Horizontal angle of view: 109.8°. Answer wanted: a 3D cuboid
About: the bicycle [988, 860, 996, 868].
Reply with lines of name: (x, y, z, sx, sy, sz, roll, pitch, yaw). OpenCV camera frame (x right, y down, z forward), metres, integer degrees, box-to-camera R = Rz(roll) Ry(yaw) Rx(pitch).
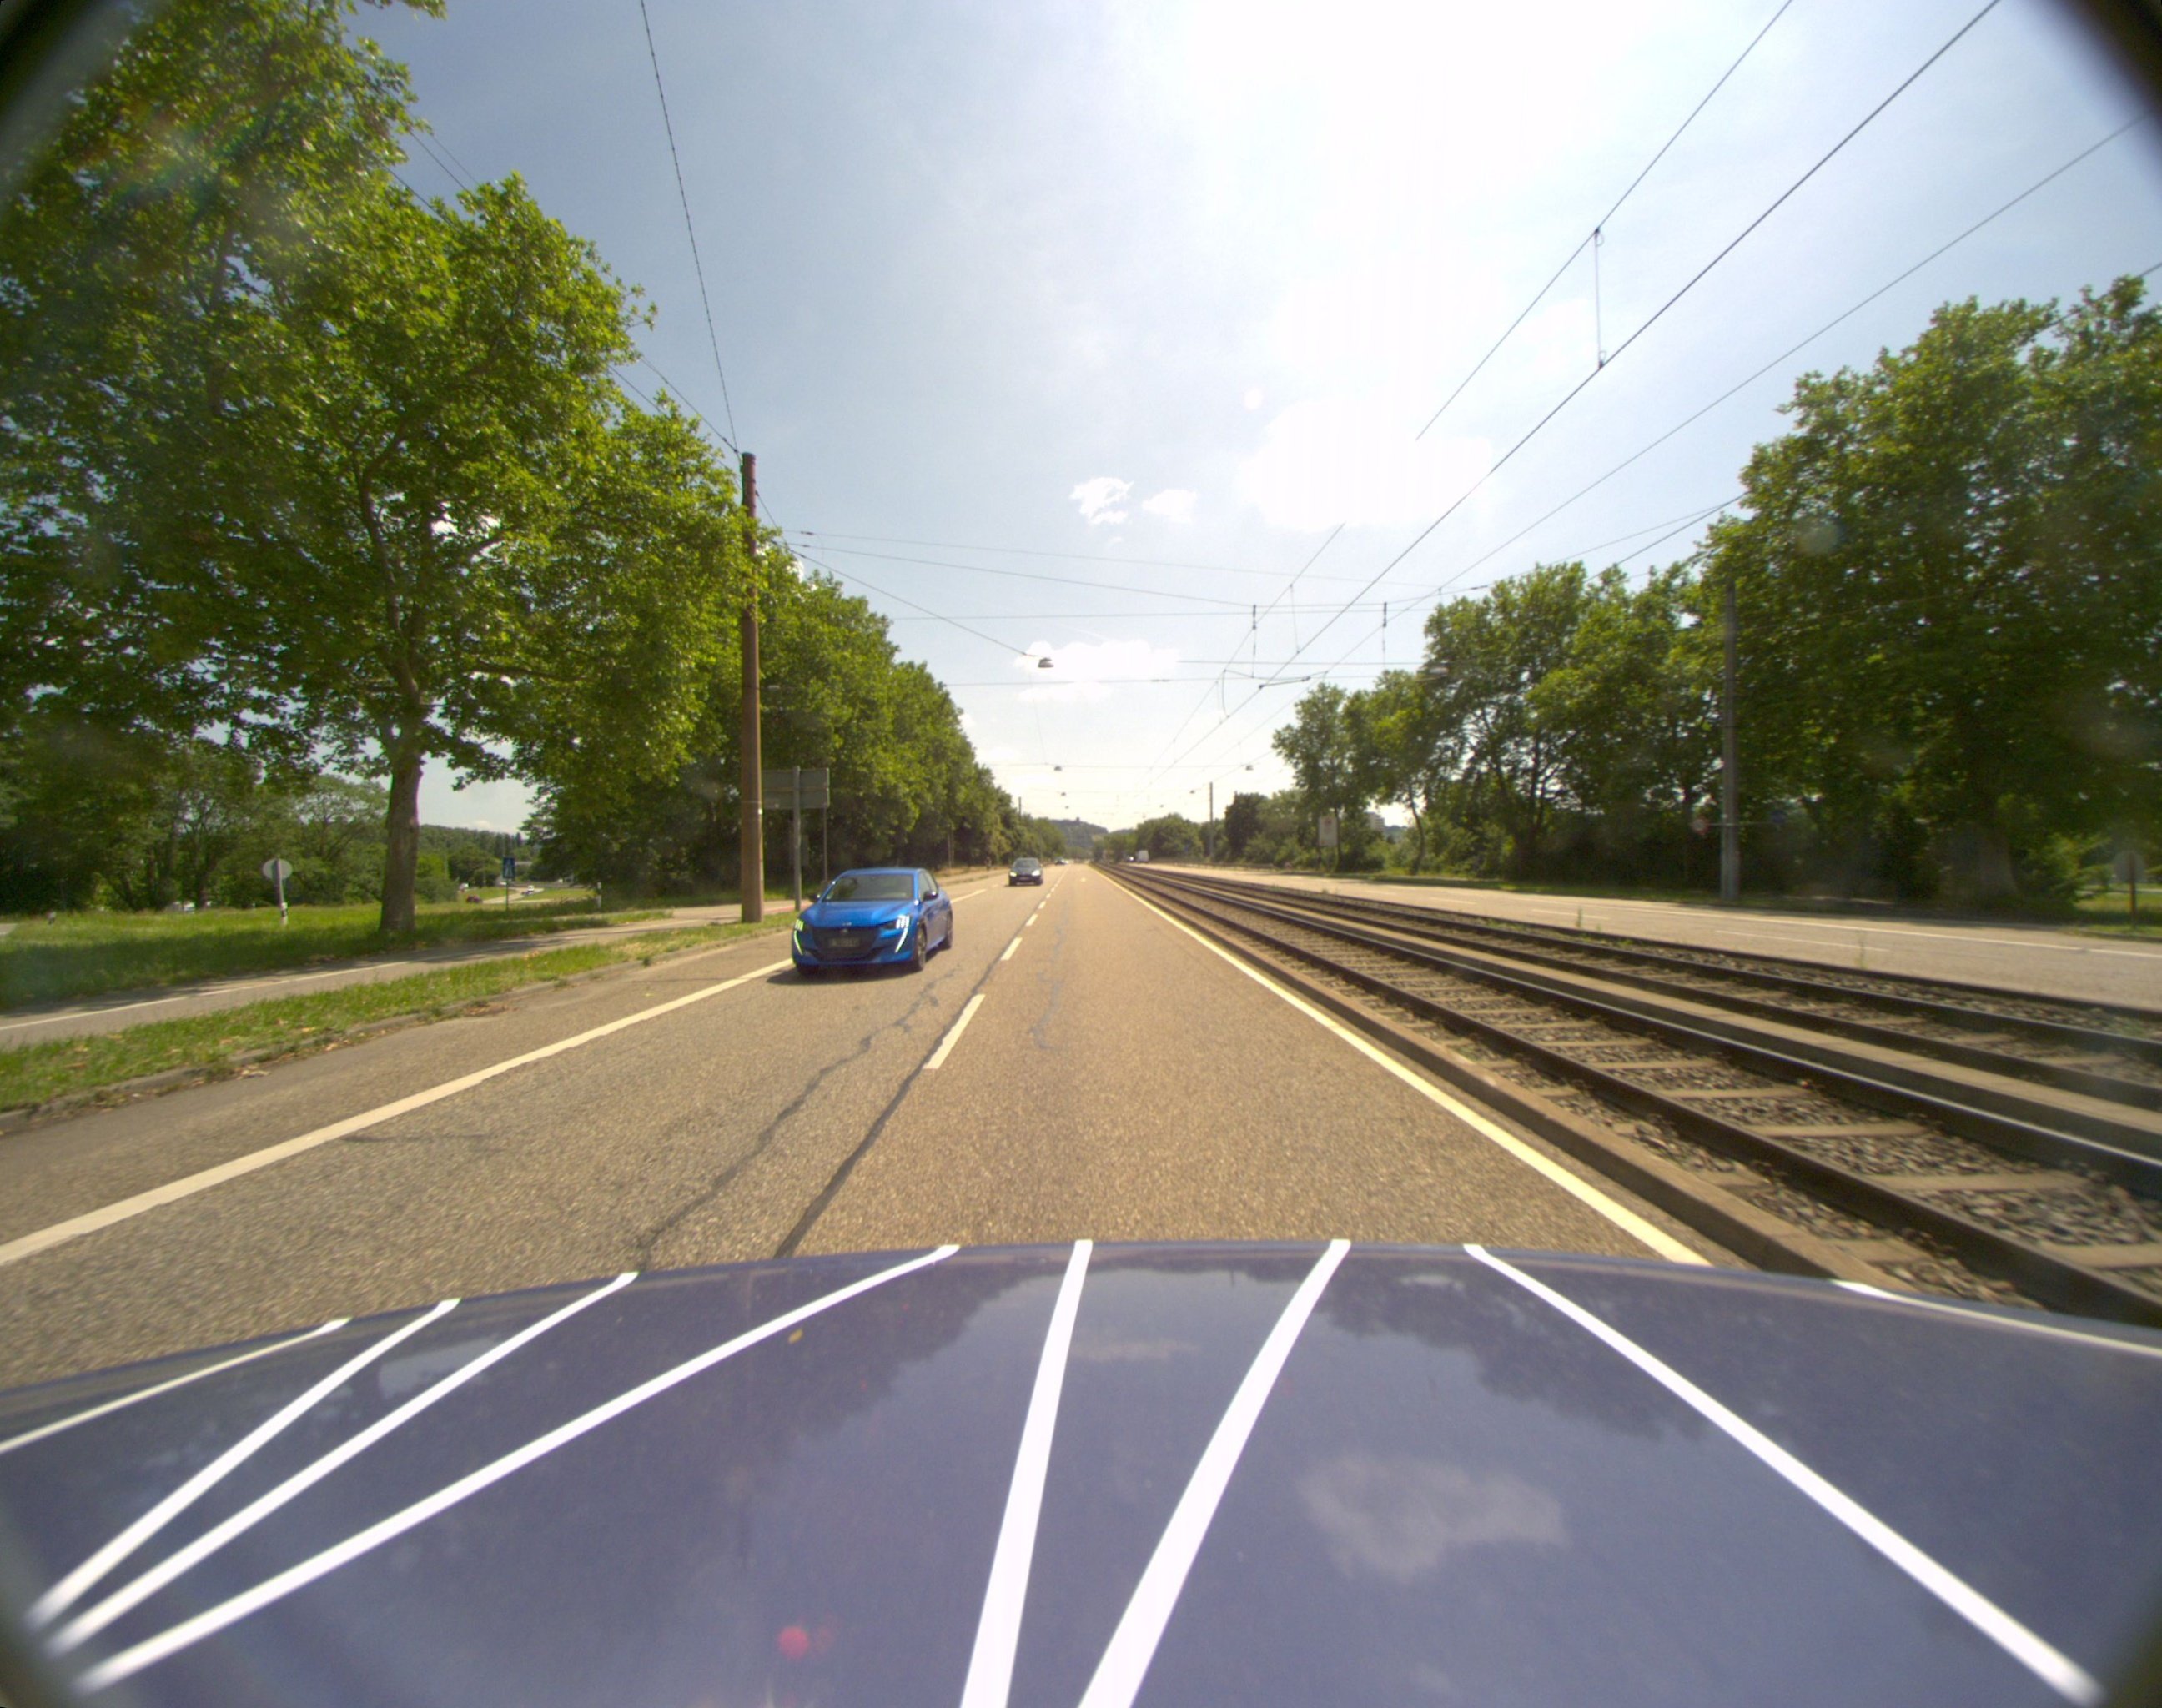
bicycle: (-10.142, 1.164, 86.509, 0.607, 0.904, 1.892, -1, 0, 1)

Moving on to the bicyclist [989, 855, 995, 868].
bicyclist: (-10.138, 0.819, 86.457, 0.607, 1.465, 0.947, -1, 1, 0)

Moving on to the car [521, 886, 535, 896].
car: (-128.266, 8.493, 176.229, 2.003, 2.002, 4.553, -1, 0, -28)

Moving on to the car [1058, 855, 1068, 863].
car: (-3.414, 0.891, 145.625, 1.771, 1.422, 4.000, -1, 0, 0)

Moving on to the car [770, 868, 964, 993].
car: (-3.080, 1.017, 11.957, 1.771, 1.463, 4.467, -2, 0, 0)

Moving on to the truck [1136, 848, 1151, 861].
truck: (13.365, 0.090, 162.365, 2.332, 2.566, 6.620, -1, 0, -2)

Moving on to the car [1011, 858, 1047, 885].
car: (-2.955, 0.979, 43.699, 1.771, 1.422, 4.000, -2, 0, 0)
